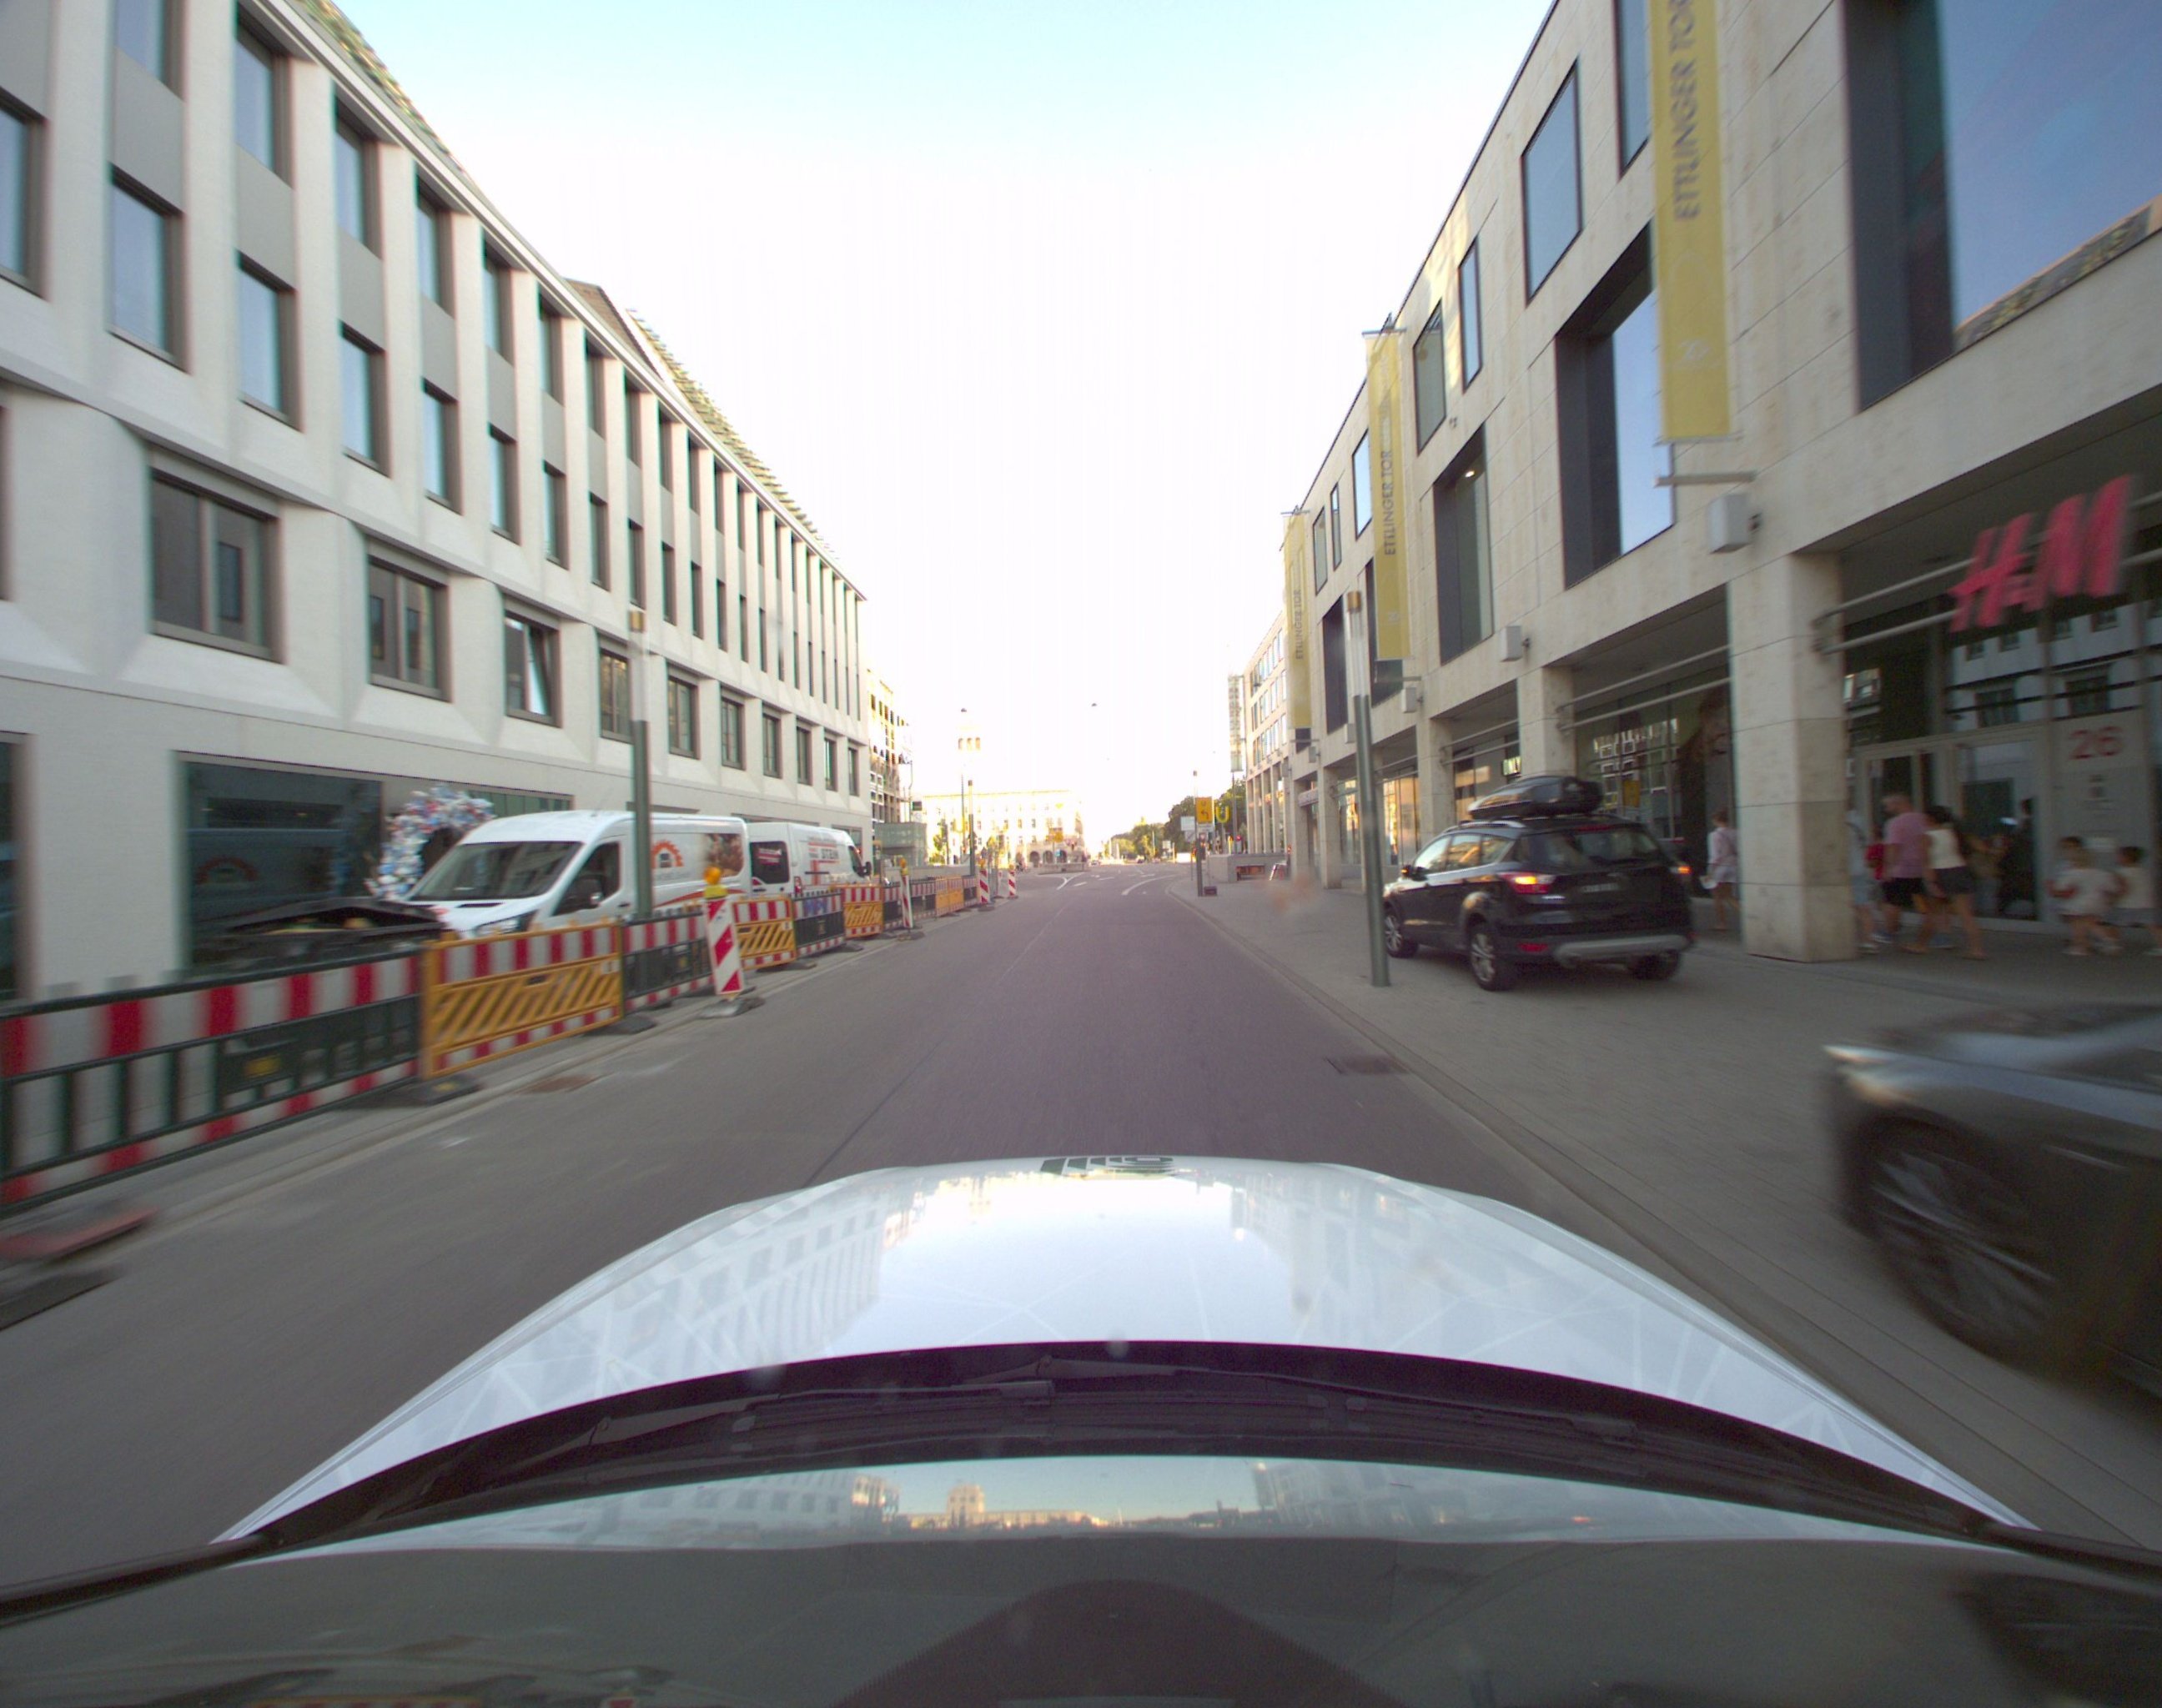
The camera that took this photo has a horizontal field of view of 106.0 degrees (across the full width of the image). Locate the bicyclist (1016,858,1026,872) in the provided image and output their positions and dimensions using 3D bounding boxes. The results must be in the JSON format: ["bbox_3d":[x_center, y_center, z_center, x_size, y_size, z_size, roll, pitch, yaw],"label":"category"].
[{"bbox_3d":[-7.170,1.285,97.157,1.015,1.621,0.654,-2,0,2],"label":"bicyclist"}]

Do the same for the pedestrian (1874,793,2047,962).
[{"bbox_3d":[8.709,0.214,8.107,0.762,1.567,0.877,-2,1,2],"label":"pedestrian"}]

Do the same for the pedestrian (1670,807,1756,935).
[{"bbox_3d":[8.753,0.229,11.299,0.588,1.698,0.696,-2,0,0],"label":"pedestrian"}]

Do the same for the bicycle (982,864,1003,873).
[{"bbox_3d":[-10.466,1.709,96.339,2.232,1.062,0.654,-2,0,4],"label":"bicycle"}]

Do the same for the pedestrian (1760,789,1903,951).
[{"bbox_3d":[8.281,0.159,9.022,0.762,1.681,0.877,-2,1,2],"label":"pedestrian"}]

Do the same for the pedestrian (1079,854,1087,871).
[{"bbox_3d":[0.194,0.963,87.915,0.737,1.777,0.862,-4,0,-4],"label":"pedestrian"}]

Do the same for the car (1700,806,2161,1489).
[{"bbox_3d":[3.247,0.622,1.028,1.788,1.490,4.196,-5,-1,3],"label":"car"}]

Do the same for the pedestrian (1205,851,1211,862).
[{"bbox_3d":[19.402,0.347,124.542,0.805,1.730,0.688,-2,0,1],"label":"pedestrian"}]

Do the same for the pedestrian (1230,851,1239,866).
[{"bbox_3d":[18.545,0.549,98.596,0.857,1.777,0.741,-5,0,4],"label":"pedestrian"}]

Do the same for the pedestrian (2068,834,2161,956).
[{"bbox_3d":[10.058,0.371,7.793,0.485,1.097,0.602,-2,1,2],"label":"pedestrian"}]

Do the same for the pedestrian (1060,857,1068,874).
[{"bbox_3d":[-1.916,1.283,91.260,0.736,1.777,0.863,-5,0,0],"label":"pedestrian"}]

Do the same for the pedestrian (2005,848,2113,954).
[{"bbox_3d":[9.586,0.445,7.997,0.418,0.986,0.526,-2,1,2],"label":"pedestrian"}]

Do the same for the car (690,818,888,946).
[{"bbox_3d":[-6.456,0.563,19.021,2.165,2.470,6.003,-2,0,3],"label":"car"}]

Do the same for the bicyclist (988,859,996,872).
[{"bbox_3d":[-10.525,1.370,96.346,0.875,1.531,0.654,-2,0,4],"label":"bicyclist"}]

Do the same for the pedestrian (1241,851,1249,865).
[{"bbox_3d":[21.022,0.521,104.268,0.829,1.730,0.691,-2,0,16],"label":"pedestrian"}]

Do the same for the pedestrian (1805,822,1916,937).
[{"bbox_3d":[9.619,0.291,10.077,0.631,1.345,0.775,-2,1,2],"label":"pedestrian"}]

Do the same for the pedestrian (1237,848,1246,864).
[{"bbox_3d":[19.295,0.225,97.888,0.753,1.777,0.741,-5,0,4],"label":"pedestrian"}]

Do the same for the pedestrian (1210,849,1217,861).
[{"bbox_3d":[20.313,0.175,125.148,0.807,1.730,0.686,-2,0,-7],"label":"pedestrian"}]

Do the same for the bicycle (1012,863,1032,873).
[{"bbox_3d":[-7.033,1.702,97.148,2.233,1.062,0.654,-2,0,2],"label":"bicycle"}]

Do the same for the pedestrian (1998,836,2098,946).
[{"bbox_3d":[10.092,0.368,8.515,0.418,1.097,0.526,-2,1,2],"label":"pedestrian"}]

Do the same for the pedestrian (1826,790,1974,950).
[{"bbox_3d":[9.119,0.164,9.106,0.762,1.681,0.877,-2,1,2],"label":"pedestrian"}]

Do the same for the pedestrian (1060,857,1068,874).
[{"bbox_3d":[-1.875,1.259,90.203,0.735,1.777,0.864,-5,0,2],"label":"pedestrian"}]

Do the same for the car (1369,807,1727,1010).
[{"bbox_3d":[4.833,0.496,9.222,1.761,1.637,4.060,-5,-1,3],"label":"car"}]

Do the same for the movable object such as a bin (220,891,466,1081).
[{"bbox_3d":[-6.624,1.118,7.440,1.043,1.466,1.389,-2,-1,-9],"label":"movable object such as a bin"}]

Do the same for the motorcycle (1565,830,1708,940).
[{"bbox_3d":[7.864,0.406,11.677,0.689,1.416,2.138,-2,0,5],"label":"motorcycle"}]

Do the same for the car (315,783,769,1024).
[{"bbox_3d":[-6.831,0.535,11.571,2.164,2.470,6.003,-2,0,3],"label":"car"}]
